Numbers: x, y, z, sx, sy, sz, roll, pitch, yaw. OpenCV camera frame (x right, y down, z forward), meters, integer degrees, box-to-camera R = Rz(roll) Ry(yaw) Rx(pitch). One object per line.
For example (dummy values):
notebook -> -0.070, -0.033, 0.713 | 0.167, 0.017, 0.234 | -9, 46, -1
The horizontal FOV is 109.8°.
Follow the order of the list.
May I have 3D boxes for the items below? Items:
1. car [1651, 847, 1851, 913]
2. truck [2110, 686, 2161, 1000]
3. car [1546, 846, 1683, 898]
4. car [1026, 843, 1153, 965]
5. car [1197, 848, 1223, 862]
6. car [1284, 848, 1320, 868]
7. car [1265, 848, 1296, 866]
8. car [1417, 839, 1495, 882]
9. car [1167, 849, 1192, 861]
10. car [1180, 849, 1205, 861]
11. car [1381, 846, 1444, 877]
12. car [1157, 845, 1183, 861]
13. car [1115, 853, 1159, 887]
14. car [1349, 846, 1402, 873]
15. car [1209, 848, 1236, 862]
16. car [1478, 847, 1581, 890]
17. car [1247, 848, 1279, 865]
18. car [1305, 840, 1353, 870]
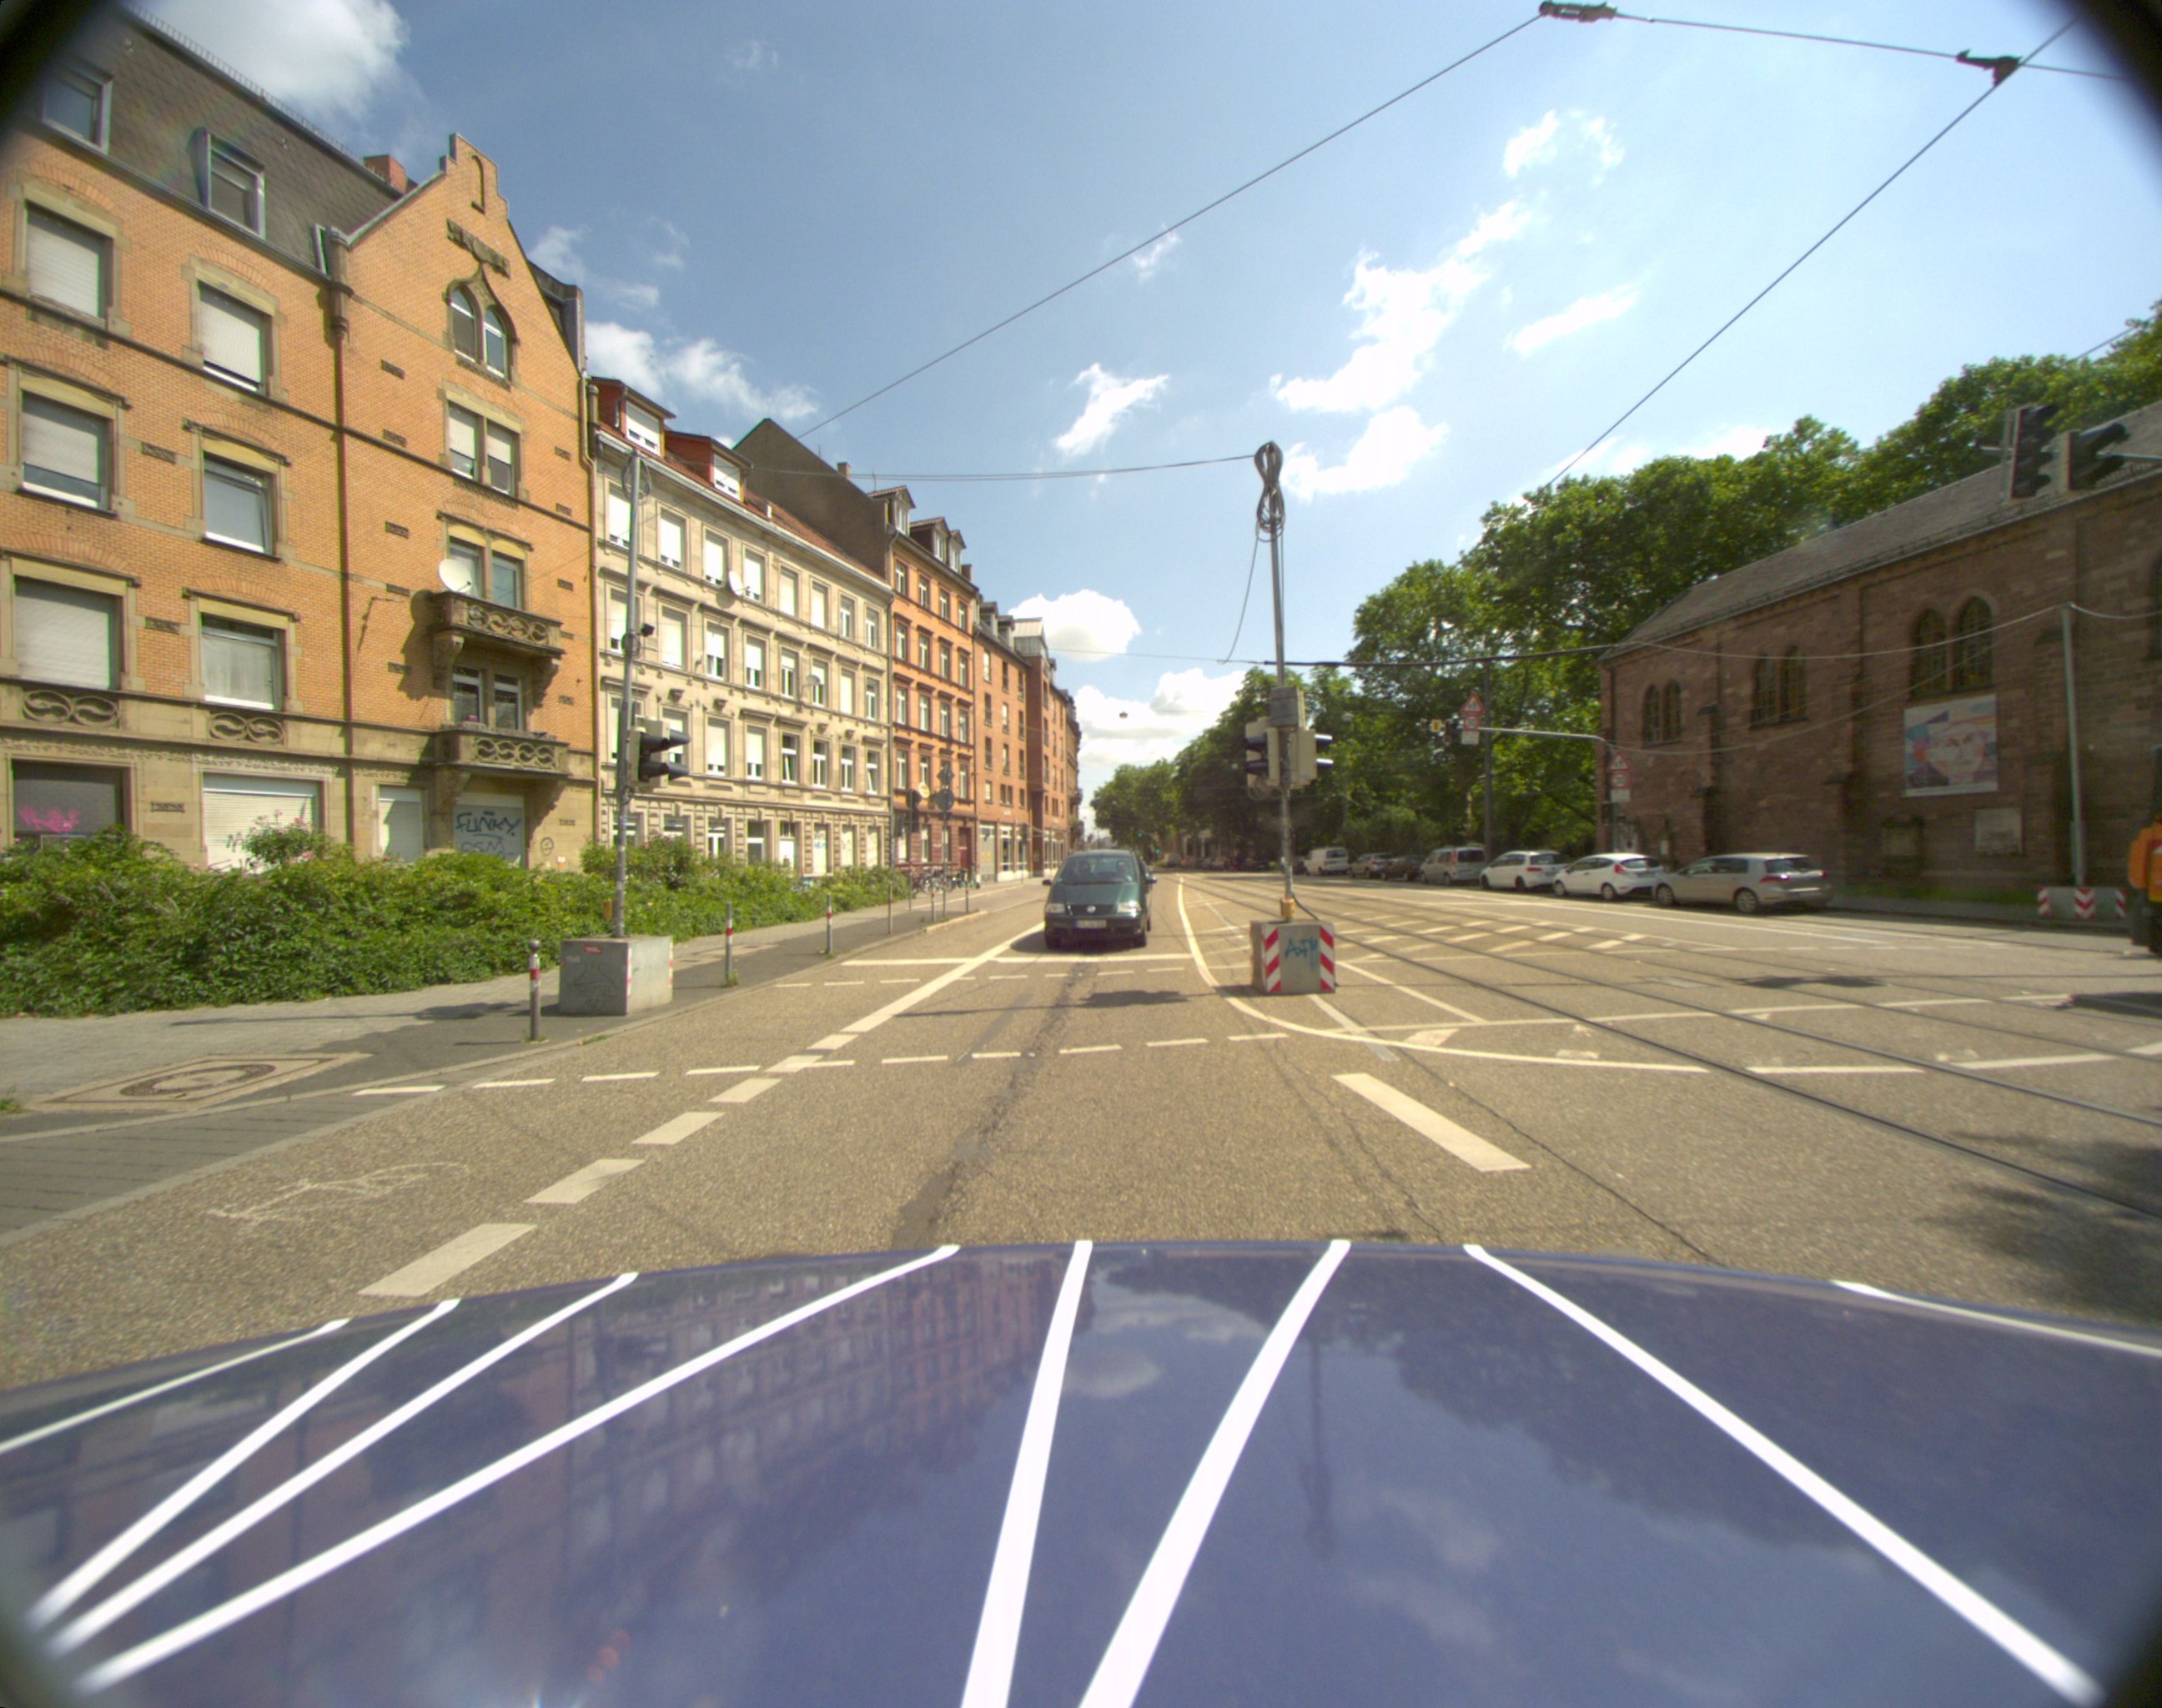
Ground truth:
car -> 17.243, 0.588, 19.855 | 1.761, 1.488, 4.000 | -2, 1, 2
truck -> 11.832, -0.061, 4.151 | 2.645, 3.088, 7.222 | 1, 1, 2
car -> 17.320, 0.529, 24.908 | 1.761, 1.488, 4.000 | -2, 1, 2
car -> 0.358, 0.736, 14.013 | 1.822, 1.746, 5.032 | -3, 1, 6
car -> 15.038, 0.089, 88.866 | 1.762, 1.488, 3.997 | -2, 1, -8
car -> 17.644, 0.302, 60.828 | 1.761, 1.488, 4.000 | -2, 1, 2
car -> 17.740, 0.223, 67.618 | 1.761, 1.488, 4.000 | -2, 1, 2
car -> 17.565, 0.275, 35.822 | 1.761, 1.825, 4.000 | -2, 1, 2
car -> 13.006, 0.150, 100.337 | 1.763, 1.488, 3.994 | -2, 1, -17
car -> 14.073, 0.130, 96.048 | 1.763, 1.488, 3.994 | -2, 1, -15
car -> 17.710, 0.380, 40.790 | 1.761, 1.488, 4.000 | -2, 1, 2
car -> 12.834, -0.177, 110.263 | 1.765, 2.172, 3.991 | -3, 1, -27
car -> 2.617, 0.712, 35.701 | 1.914, 1.386, 4.313 | -2, 1, 4
car -> 17.760, 0.320, 45.969 | 1.761, 1.488, 4.000 | -2, 1, 2
car -> 15.666, 0.115, 84.434 | 1.762, 1.488, 3.997 | -2, 1, -7
car -> 17.454, 0.516, 29.775 | 1.761, 1.488, 4.000 | -2, 1, 2
car -> 17.577, 0.204, 73.434 | 1.762, 1.488, 3.998 | -2, 1, -5
car -> 17.856, 0.066, 54.934 | 1.993, 1.992, 4.084 | -2, 1, -1
